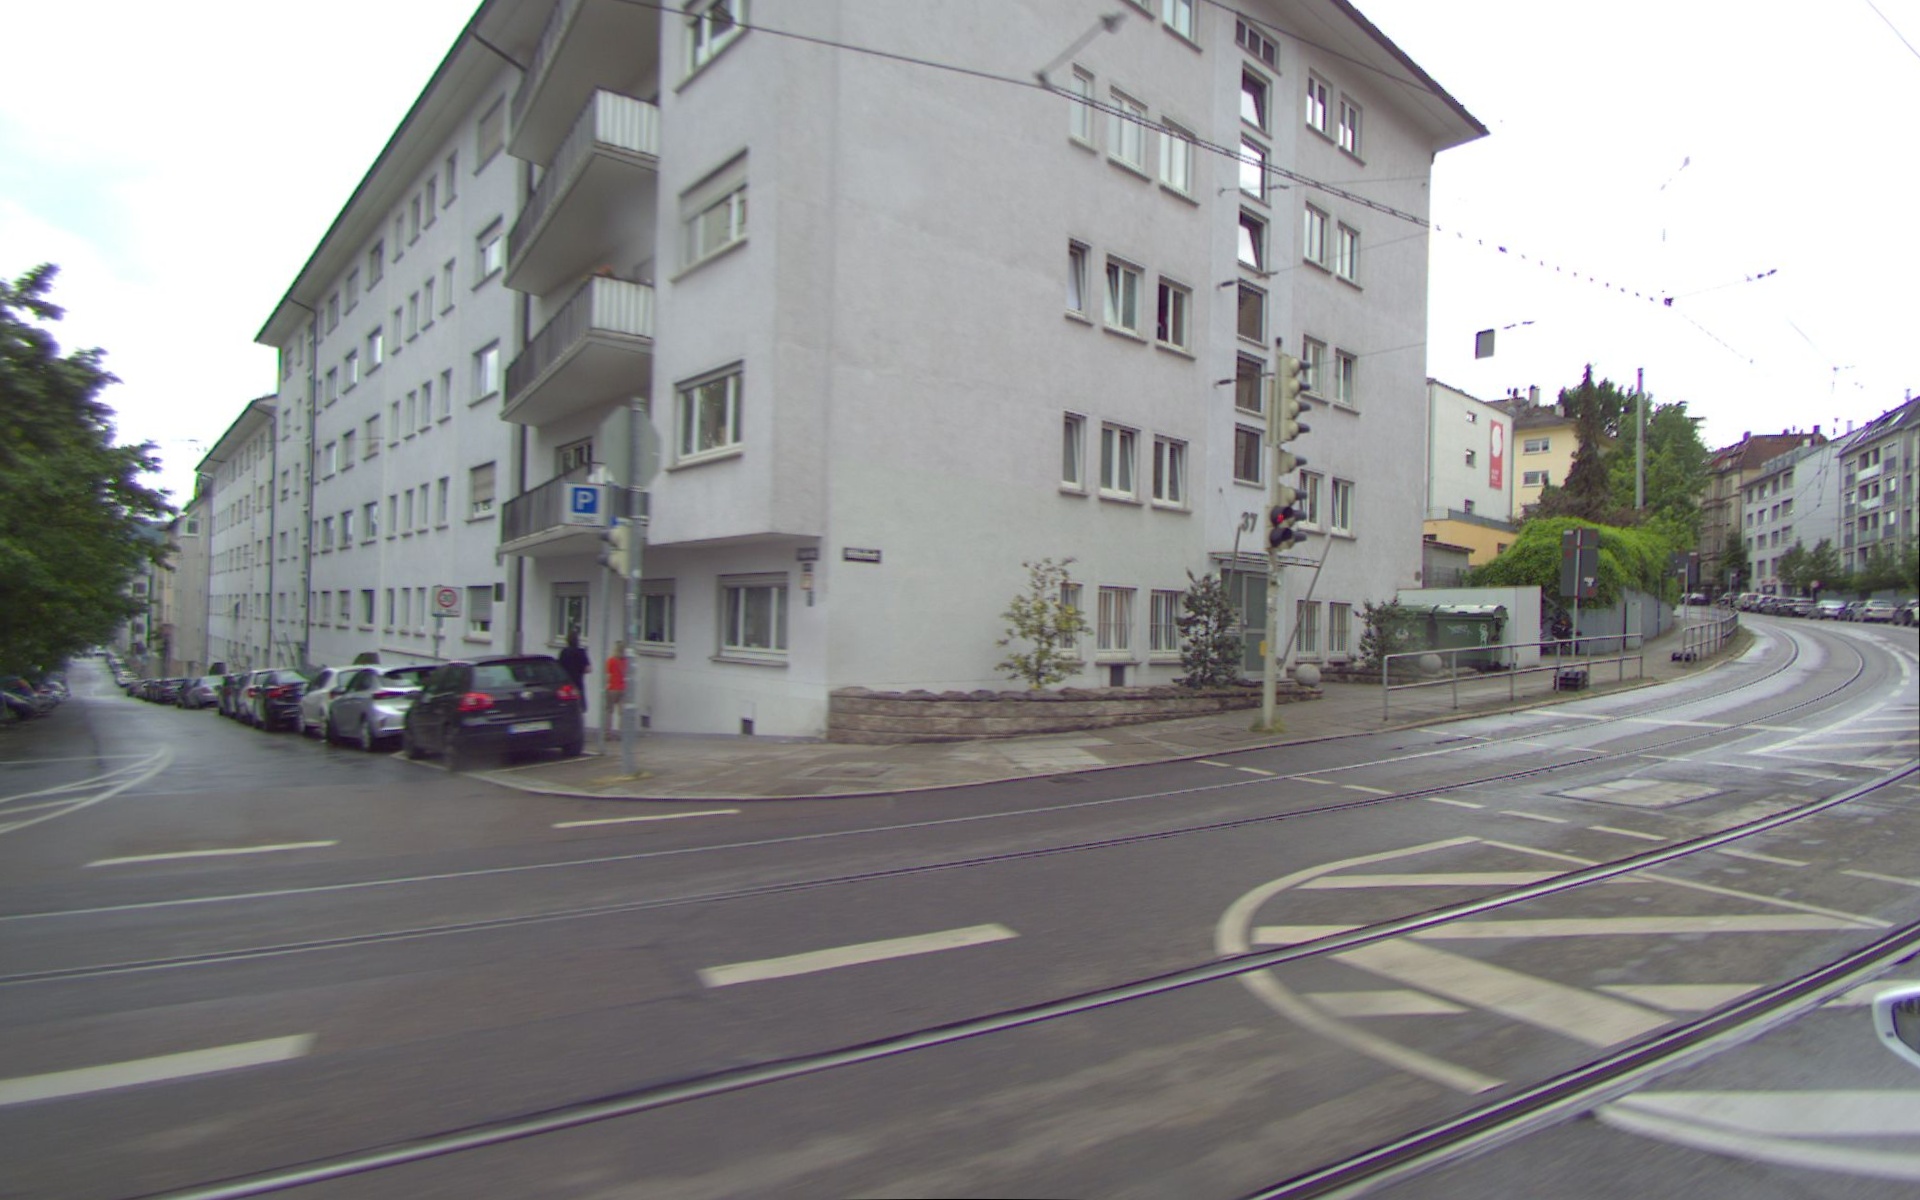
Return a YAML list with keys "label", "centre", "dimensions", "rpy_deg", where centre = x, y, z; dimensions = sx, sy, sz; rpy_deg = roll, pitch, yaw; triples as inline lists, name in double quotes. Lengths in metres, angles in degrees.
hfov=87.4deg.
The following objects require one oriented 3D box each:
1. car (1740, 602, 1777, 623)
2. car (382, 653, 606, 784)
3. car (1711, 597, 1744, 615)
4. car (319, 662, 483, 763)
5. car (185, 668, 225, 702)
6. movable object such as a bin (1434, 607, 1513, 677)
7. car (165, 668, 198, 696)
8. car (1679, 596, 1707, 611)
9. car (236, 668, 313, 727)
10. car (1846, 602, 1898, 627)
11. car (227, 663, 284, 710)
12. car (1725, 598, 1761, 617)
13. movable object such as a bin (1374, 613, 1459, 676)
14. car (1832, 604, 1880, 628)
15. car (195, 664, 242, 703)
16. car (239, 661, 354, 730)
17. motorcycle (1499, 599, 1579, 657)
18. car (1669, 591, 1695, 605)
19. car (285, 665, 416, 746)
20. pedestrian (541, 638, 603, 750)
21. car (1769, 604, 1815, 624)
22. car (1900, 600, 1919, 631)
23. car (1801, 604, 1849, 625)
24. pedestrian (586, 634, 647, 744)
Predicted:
- label: "car"
  centre: [75.217, 1.169, 94.672]
  dimensions: [1.739, 1.811, 4.243]
  rpy_deg: [2, 2, 26]
- label: "car"
  centre: [-6.934, 1.595, 14.722]
  dimensions: [1.841, 1.474, 4.202]
  rpy_deg: [-2, 0, -41]
- label: "car"
  centre: [80.123, 0.570, 104.890]
  dimensions: [1.739, 1.707, 4.244]
  rpy_deg: [2, 2, 25]
- label: "car"
  centre: [-10.214, 1.936, 18.225]
  dimensions: [1.643, 1.474, 3.841]
  rpy_deg: [-2, 0, -44]
- label: "car"
  centre: [-36.459, 4.084, 48.505]
  dimensions: [1.384, 1.460, 3.027]
  rpy_deg: [2, -2, -40]
- label: "movable object such as a bin"
  centre: [11.452, 0.919, 22.403]
  dimensions: [1.280, 1.481, 1.175]
  rpy_deg: [-2, 0, -42]
- label: "car"
  centre: [-44.820, 4.713, 57.811]
  dimensions: [1.384, 1.460, 3.027]
  rpy_deg: [2, -2, -40]
- label: "car"
  centre: [85.734, 0.390, 117.512]
  dimensions: [1.739, 1.538, 4.135]
  rpy_deg: [2, 2, 25]
- label: "car"
  centre: [-19.705, 2.749, 28.850]
  dimensions: [1.514, 1.460, 3.286]
  rpy_deg: [2, -2, -40]
- label: "car"
  centre: [59.583, 0.938, 65.675]
  dimensions: [1.638, 1.491, 4.497]
  rpy_deg: [3, 1, 32]
- label: "car"
  centre: [-24.457, 2.948, 34.834]
  dimensions: [1.384, 1.460, 3.027]
  rpy_deg: [2, -2, -40]
- label: "car"
  centre: [78.255, 0.737, 100.396]
  dimensions: [1.738, 1.707, 4.245]
  rpy_deg: [2, 2, 24]
- label: "movable object such as a bin"
  centre: [10.624, 1.020, 23.391]
  dimensions: [1.315, 1.354, 1.356]
  rpy_deg: [-2, 0, -42]
- label: "car"
  centre: [61.962, 1.084, 69.524]
  dimensions: [1.676, 1.532, 3.706]
  rpy_deg: [3, 2, 30]
- label: "car"
  centre: [-33.507, 3.746, 45.366]
  dimensions: [1.450, 1.485, 3.376]
  rpy_deg: [-2, 0, -40]
- label: "car"
  centre: [-16.464, 2.295, 24.865]
  dimensions: [1.693, 1.460, 3.700]
  rpy_deg: [2, -2, -44]
- label: "motorcycle"
  centre: [16.847, 0.806, 29.243]
  dimensions: [1.902, 1.622, 0.592]
  rpy_deg: [-2, 1, 44]
- label: "car"
  centre: [87.823, -0.270, 122.209]
  dimensions: [1.623, 1.556, 3.886]
  rpy_deg: [-2, 0, 23]
- label: "car"
  centre: [-13.159, 2.197, 21.617]
  dimensions: [1.609, 1.460, 3.700]
  rpy_deg: [2, -2, -44]
- label: "pedestrian"
  centre: [-6.254, 1.490, 16.200]
  dimensions: [0.668, 1.722, 0.736]
  rpy_deg: [-2, 1, -42]
- label: "car"
  centre: [70.162, 1.170, 84.766]
  dimensions: [1.738, 1.637, 4.246]
  rpy_deg: [0, 0, 22]
- label: "car"
  centre: [50.638, 0.830, 52.203]
  dimensions: [1.811, 1.594, 4.236]
  rpy_deg: [3, 2, 33]
- label: "car"
  centre: [65.523, 1.076, 76.179]
  dimensions: [1.735, 1.454, 4.632]
  rpy_deg: [0, 0, 28]
- label: "pedestrian"
  centre: [-5.686, 1.450, 16.607]
  dimensions: [0.668, 1.722, 0.736]
  rpy_deg: [-2, 1, -42]
